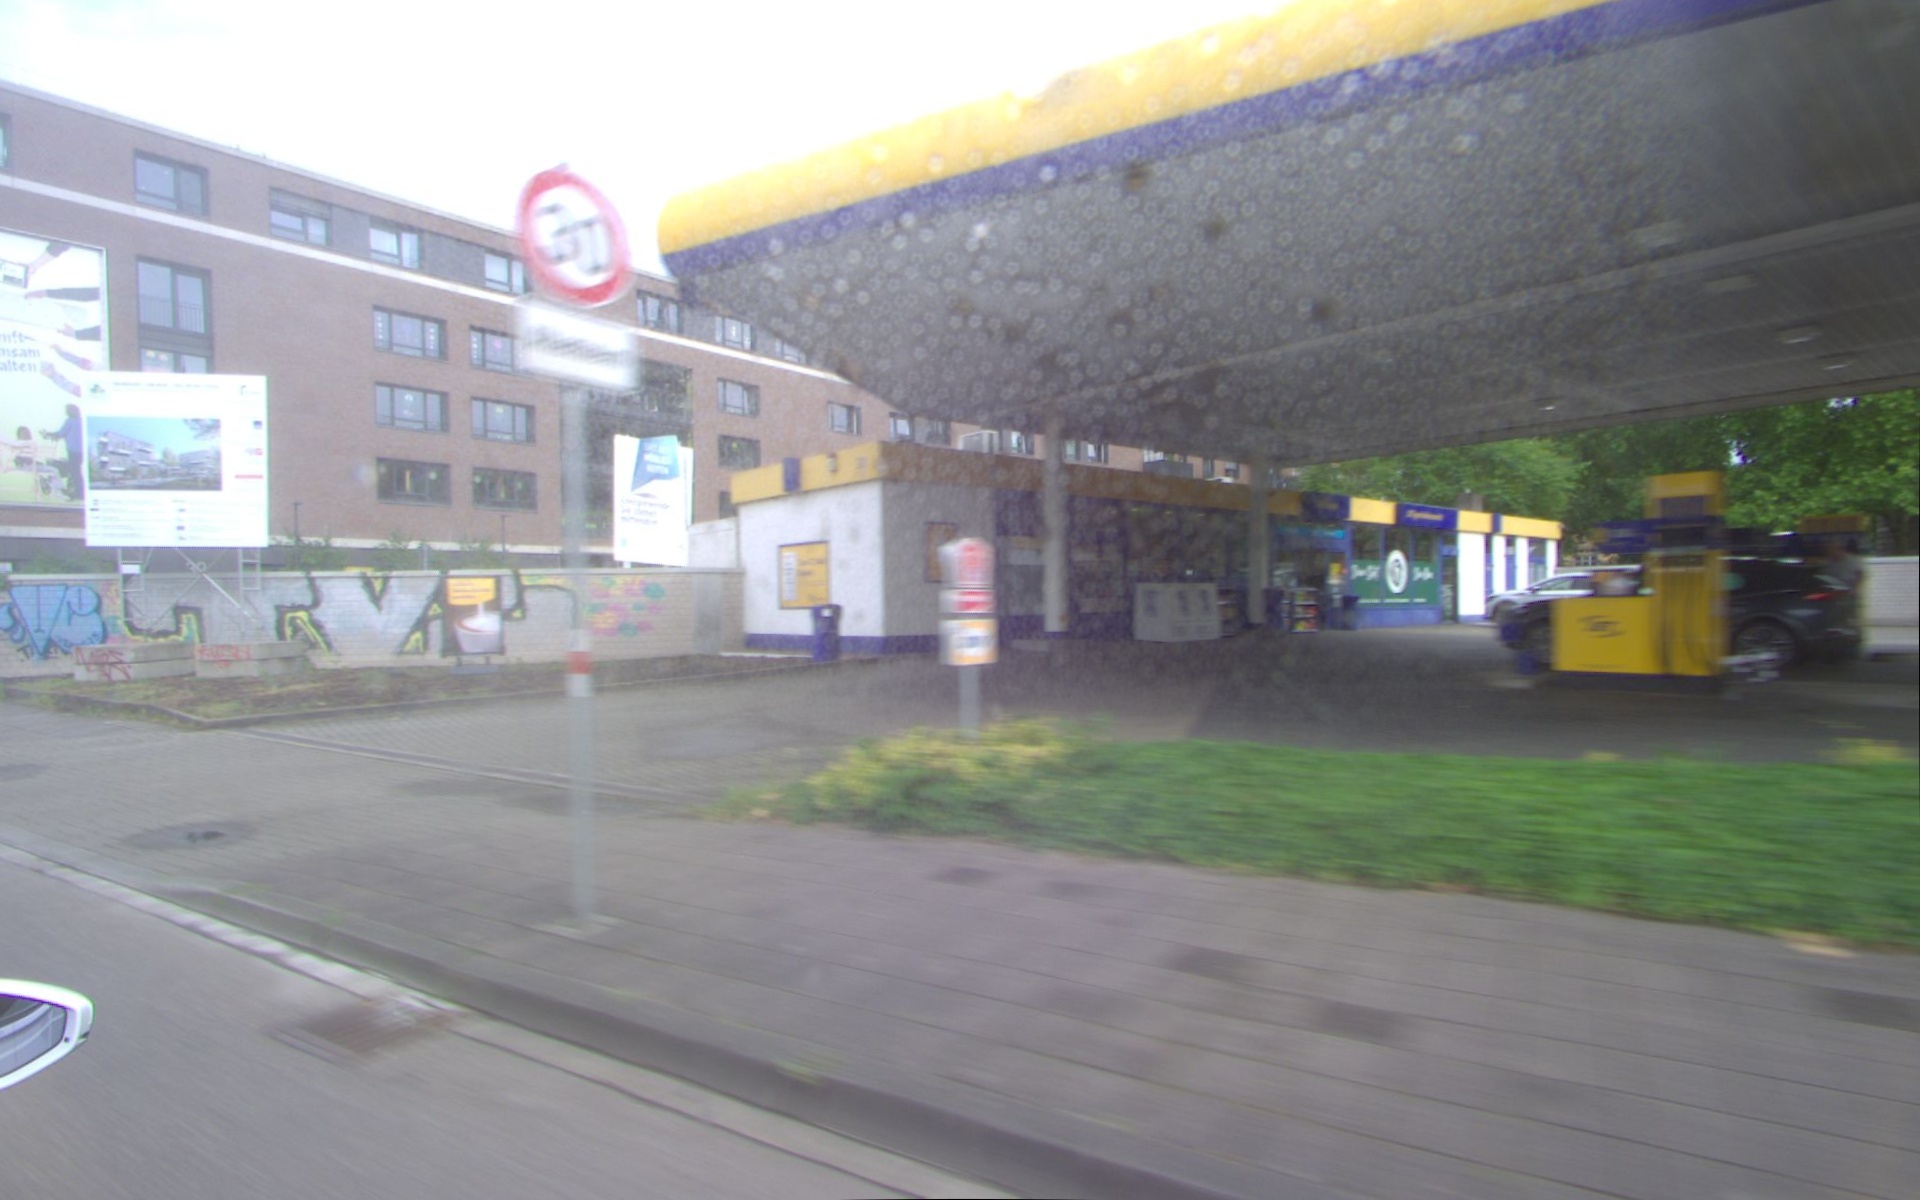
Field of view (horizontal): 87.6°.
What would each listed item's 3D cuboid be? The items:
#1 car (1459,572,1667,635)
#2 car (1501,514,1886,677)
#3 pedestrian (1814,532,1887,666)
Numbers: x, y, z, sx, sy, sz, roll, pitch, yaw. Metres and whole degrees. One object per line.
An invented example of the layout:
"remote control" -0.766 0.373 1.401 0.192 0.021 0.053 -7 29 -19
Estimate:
"car" 17.137 0.040 28.650 1.920 1.617 4.719 -1 2 -40
"car" 10.492 -0.038 14.593 1.803 2.014 4.219 -2 1 -39
"pedestrian" 12.372 -0.007 13.921 0.699 1.810 0.623 0 0 -36
